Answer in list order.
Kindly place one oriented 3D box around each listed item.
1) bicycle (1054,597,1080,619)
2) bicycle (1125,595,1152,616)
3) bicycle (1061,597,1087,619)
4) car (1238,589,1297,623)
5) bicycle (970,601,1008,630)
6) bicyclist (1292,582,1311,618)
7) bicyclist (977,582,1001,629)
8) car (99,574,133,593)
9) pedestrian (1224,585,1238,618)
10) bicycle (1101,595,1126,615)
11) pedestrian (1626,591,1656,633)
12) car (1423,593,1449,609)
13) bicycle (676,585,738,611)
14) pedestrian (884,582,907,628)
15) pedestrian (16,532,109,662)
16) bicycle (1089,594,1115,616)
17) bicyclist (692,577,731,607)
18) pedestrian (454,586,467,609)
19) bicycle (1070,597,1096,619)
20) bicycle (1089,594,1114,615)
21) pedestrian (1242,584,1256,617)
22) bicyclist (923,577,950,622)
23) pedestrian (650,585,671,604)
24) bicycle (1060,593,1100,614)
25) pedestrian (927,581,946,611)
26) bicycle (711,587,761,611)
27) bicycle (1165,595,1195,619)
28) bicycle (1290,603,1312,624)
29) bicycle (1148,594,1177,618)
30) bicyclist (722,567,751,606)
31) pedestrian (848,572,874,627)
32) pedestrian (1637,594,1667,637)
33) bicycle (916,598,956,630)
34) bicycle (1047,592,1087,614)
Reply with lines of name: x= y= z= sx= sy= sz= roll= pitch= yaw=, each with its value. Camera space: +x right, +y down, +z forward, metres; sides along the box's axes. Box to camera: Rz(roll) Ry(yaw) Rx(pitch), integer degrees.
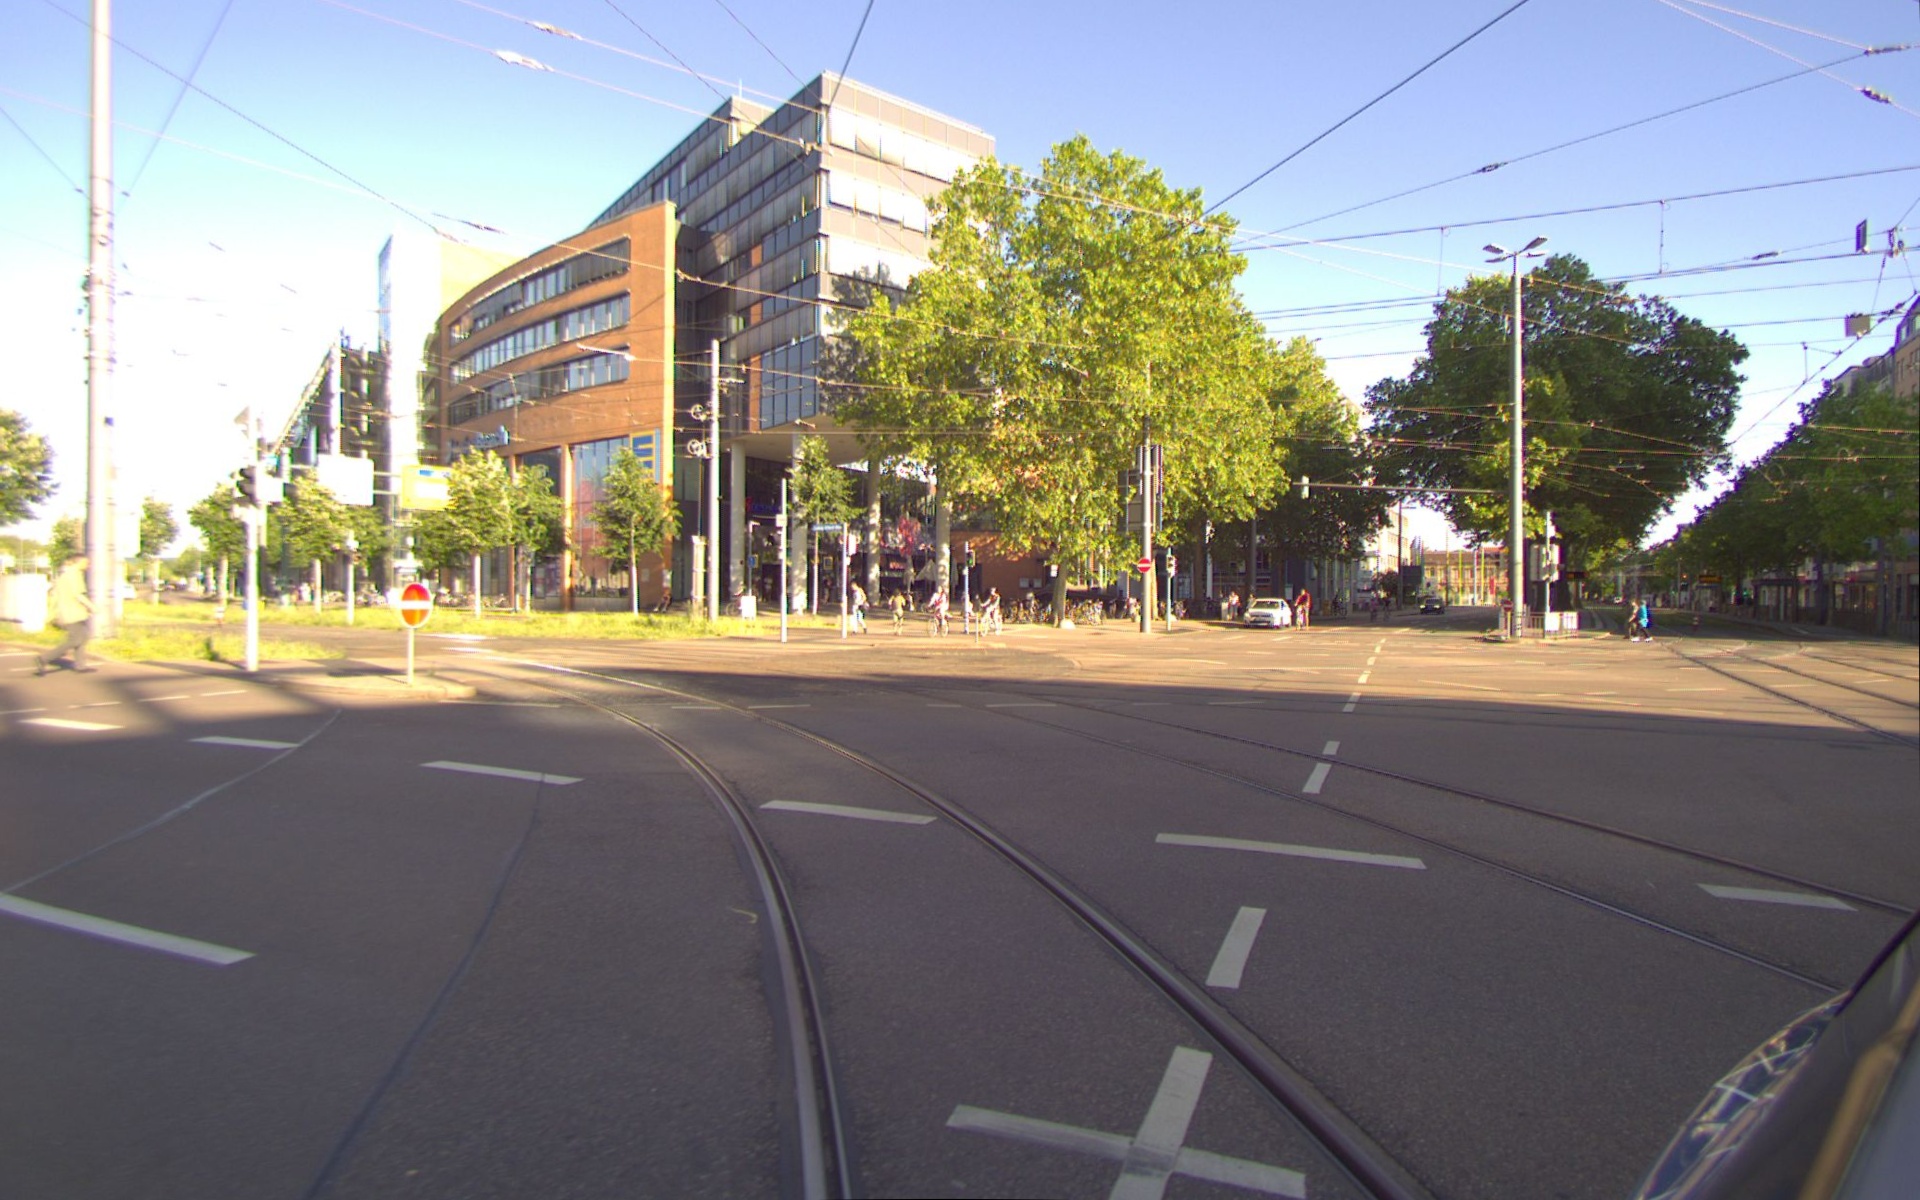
bicycle: x=5.091 y=0.372 z=48.291 sx=0.388 sy=0.998 sz=1.687 roll=2 pitch=1 yaw=37
bicycle: x=10.479 y=0.318 z=59.412 sx=0.860 sy=1.105 sz=2.935 roll=2 pitch=1 yaw=-3
bicycle: x=5.426 y=0.380 z=48.000 sx=0.388 sy=0.998 sz=1.687 roll=2 pitch=1 yaw=37
car: x=15.138 y=0.326 z=49.700 sx=1.982 sy=1.505 sz=3.959 roll=1 pitch=-1 yaw=28
bicycle: x=1.105 y=0.577 z=37.981 sx=0.513 sy=1.034 sz=1.835 roll=1 pitch=1 yaw=35
bicyclist: x=15.738 y=0.009 z=46.597 sx=0.631 sy=1.635 sz=0.919 roll=2 pitch=0 yaw=28
bicyclist: x=1.074 y=0.194 z=37.934 sx=0.566 sy=1.716 sz=0.735 roll=1 pitch=0 yaw=36
car: x=-70.414 y=-1.372 z=84.436 sx=1.876 sy=1.527 sz=3.990 roll=3 pitch=-1 yaw=-44
pedestrian: x=14.964 y=0.074 z=55.864 sx=0.636 sy=1.798 sz=0.612 roll=1 pitch=0 yaw=24
bicycle: x=9.025 y=0.271 z=59.715 sx=0.860 sy=1.105 sz=2.935 roll=2 pitch=1 yaw=-3
pedestrian: x=25.897 y=0.443 z=38.499 sx=0.732 sy=1.559 sz=0.648 roll=1 pitch=-1 yaw=17
car: x=47.871 y=0.073 z=101.713 sx=1.887 sy=1.553 sz=3.953 roll=1 pitch=1 yaw=33
bicycle: x=-12.603 y=-0.101 z=50.311 sx=3.154 sy=1.147 sz=1.032 roll=2 pitch=0 yaw=31
pedestrian: x=-2.280 y=0.174 z=35.862 sx=0.485 sy=1.602 sz=0.653 roll=2 pitch=0 yaw=28
pedestrian: x=-13.300 y=-0.058 z=15.010 sx=0.671 sy=1.846 sz=0.876 roll=1 pitch=1 yaw=29
bicycle: x=6.620 y=0.220 z=47.092 sx=0.388 sy=0.998 sz=1.687 roll=2 pitch=1 yaw=37
bicyclist: x=-12.310 y=-0.400 z=50.170 sx=1.551 sy=1.398 sz=1.032 roll=2 pitch=0 yaw=30
pedestrian: x=-35.072 y=-0.151 z=71.033 sx=0.695 sy=1.589 sz=0.622 roll=2 pitch=1 yaw=-39
bicycle: x=5.778 y=0.389 z=47.661 sx=0.388 sy=0.998 sz=1.687 roll=2 pitch=1 yaw=37
bicycle: x=8.184 y=0.240 z=58.831 sx=0.860 sy=1.105 sz=2.935 roll=2 pitch=1 yaw=-3
pedestrian: x=15.836 y=0.037 z=55.402 sx=0.636 sy=1.798 sz=0.612 roll=1 pitch=0 yaw=24
bicyclist: x=-0.794 y=-0.033 z=34.630 sx=0.566 sy=1.522 sz=0.735 roll=1 pitch=0 yaw=36
pedestrian: x=-16.785 y=-0.313 z=56.715 sx=0.773 sy=1.070 sz=0.812 roll=1 pitch=1 yaw=-43
bicycle: x=6.874 y=0.187 z=58.268 sx=0.859 sy=1.105 sz=2.939 roll=2 pitch=1 yaw=-24
pedestrian: x=-1.242 y=-0.216 z=53.422 sx=0.765 sy=1.546 sz=0.563 roll=1 pitch=0 yaw=-40
bicycle: x=-11.449 y=-0.072 z=51.678 sx=3.038 sy=1.127 sz=0.823 roll=2 pitch=0 yaw=41
bicycle: x=12.478 y=0.364 z=57.544 sx=0.860 sy=1.250 sz=2.935 roll=2 pitch=1 yaw=-3
bicycle: x=15.731 y=0.615 z=46.614 sx=0.646 sy=0.922 sz=1.840 roll=2 pitch=0 yaw=28
bicycle: x=11.461 y=0.328 z=57.475 sx=0.860 sy=1.250 sz=2.935 roll=2 pitch=1 yaw=-3
bicyclist: x=-11.439 y=-0.673 z=51.701 sx=1.225 sy=1.956 sz=0.823 roll=2 pitch=0 yaw=41
pedestrian: x=-3.412 y=-0.008 z=34.864 sx=0.688 sy=1.860 sz=0.515 roll=3 pitch=-1 yaw=-30
pedestrian: x=25.765 y=0.572 z=37.695 sx=0.732 sy=1.559 sz=0.673 roll=1 pitch=-1 yaw=17
bicycle: x=-0.806 y=0.471 z=34.631 sx=0.513 sy=1.034 sz=1.612 roll=1 pitch=0 yaw=35
bicycle: x=6.088 y=0.154 z=57.770 sx=0.859 sy=1.105 sz=2.939 roll=2 pitch=1 yaw=-24
